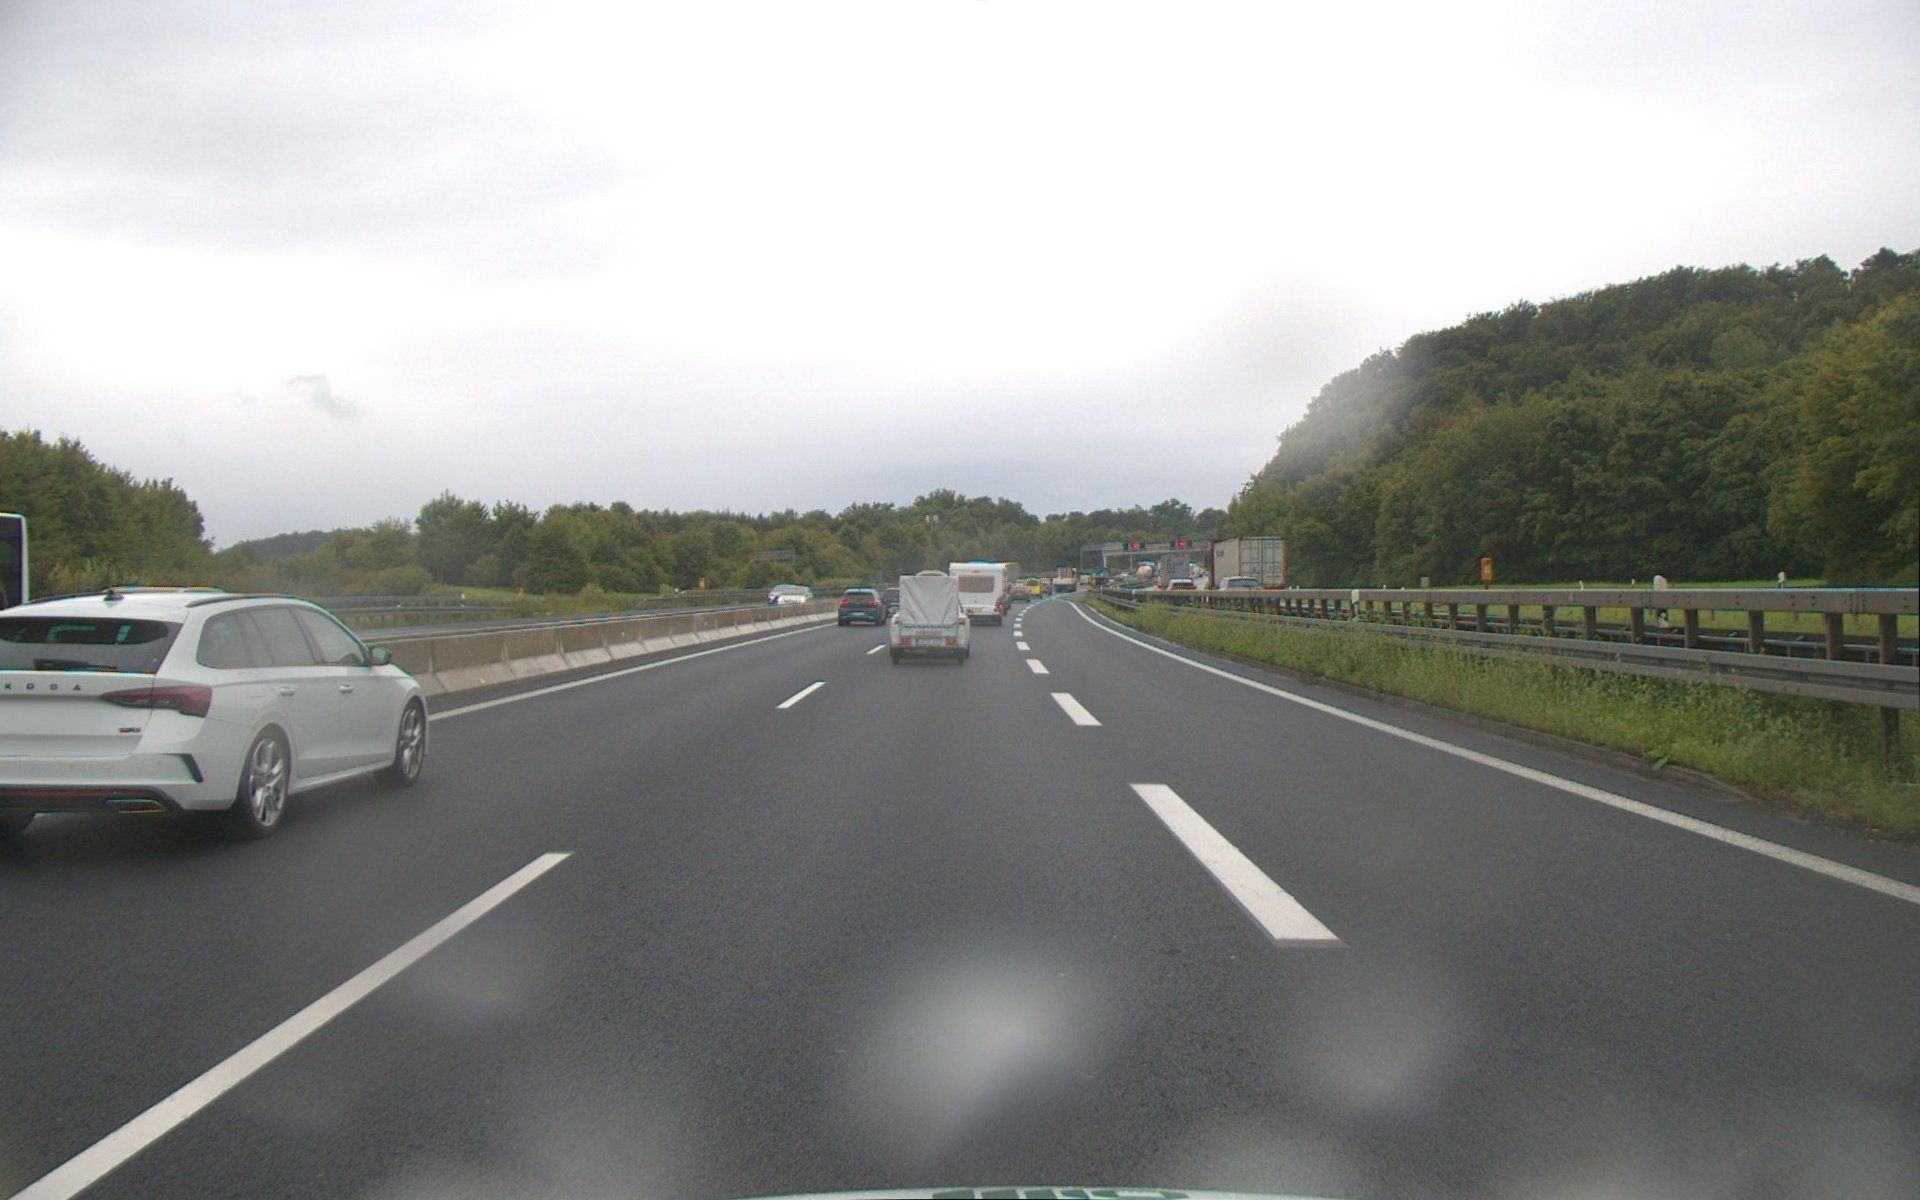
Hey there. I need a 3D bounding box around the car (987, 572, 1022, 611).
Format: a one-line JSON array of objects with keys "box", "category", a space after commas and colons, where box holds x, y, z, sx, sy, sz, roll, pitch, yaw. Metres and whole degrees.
[{"box": [2.494, -0.461, 92.436, 1.640, 2.103, 4.003, 0, 0, 6], "category": "car"}]

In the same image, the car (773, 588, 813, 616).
[{"box": [-10.481, 0.132, 104.082, 1.952, 1.741, 4.304, 0, 0, 2], "category": "car"}]

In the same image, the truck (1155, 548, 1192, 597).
[{"box": [21.697, -2.712, 168.558, 3.147, 4.748, 13.040, 0, 0, 5], "category": "truck"}]

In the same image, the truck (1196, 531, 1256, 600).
[{"box": [15.829, -1.979, 98.907, 2.562, 3.952, 6.392, 0, 0, 0], "category": "truck"}]

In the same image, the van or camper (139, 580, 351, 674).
[{"box": [-12.252, 0.431, 28.679, 1.712, 1.473, 4.585, 0, 0, -1], "category": "van or camper"}]

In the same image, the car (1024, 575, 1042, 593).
[{"box": [7.610, -1.667, 172.681, 1.640, 1.844, 4.003, 0, 0, 6], "category": "car"}]

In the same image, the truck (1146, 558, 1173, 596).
[{"box": [26.036, -2.894, 215.348, 3.147, 4.748, 13.043, 0, 0, 8], "category": "truck"}]

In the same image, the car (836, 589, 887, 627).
[{"box": [-3.969, 0.329, 67.241, 1.641, 1.481, 4.001, 0, 0, 3], "category": "car"}]

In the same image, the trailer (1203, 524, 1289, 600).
[{"box": [15.872, -1.973, 92.794, 2.551, 3.962, 12.488, 0, 0, -1], "category": "trailer"}]

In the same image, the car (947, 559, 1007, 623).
[{"box": [0.671, -0.359, 70.858, 2.456, 2.630, 5.698, 0, 0, -1], "category": "car"}]

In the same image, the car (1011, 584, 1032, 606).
[{"box": [5.251, -0.414, 142.167, 1.641, 1.844, 4.000, 0, 0, 0], "category": "car"}]

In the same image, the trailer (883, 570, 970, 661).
[{"box": [-0.673, 0.318, 35.604, 1.641, 1.844, 4.001, 0, 0, 2], "category": "trailer"}]

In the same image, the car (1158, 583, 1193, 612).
[{"box": [12.666, -0.162, 97.585, 1.732, 1.638, 4.645, 0, 0, 3], "category": "car"}]

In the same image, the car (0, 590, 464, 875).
[{"box": [-4.932, 0.701, 11.049, 1.781, 1.481, 4.777, 0, 0, 0], "category": "car"}]

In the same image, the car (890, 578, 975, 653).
[{"box": [-0.586, 0.347, 38.883, 1.781, 1.644, 4.778, 0, 0, 2], "category": "car"}]

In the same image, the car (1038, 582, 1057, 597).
[{"box": [10.230, -1.172, 193.343, 1.994, 1.712, 4.003, 0, 0, 6], "category": "car"}]

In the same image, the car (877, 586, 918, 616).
[{"box": [-3.205, 0.055, 85.401, 1.728, 1.481, 4.002, 0, 0, 3], "category": "car"}]

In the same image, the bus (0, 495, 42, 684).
[{"box": [-16.610, -0.158, 21.651, 2.643, 3.010, 11.896, -1, 0, -1], "category": "bus"}]

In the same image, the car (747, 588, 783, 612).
[{"box": [-13.900, 0.026, 118.062, 1.852, 1.679, 4.604, 0, 0, 3], "category": "car"}]

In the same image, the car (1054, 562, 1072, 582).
[{"box": [14.209, -3.819, 227.451, 2.463, 2.620, 5.315, 0, 0, 4], "category": "car"}]

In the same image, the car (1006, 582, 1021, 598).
[{"box": [7.031, -1.333, 216.620, 1.952, 2.049, 4.001, 0, 0, 2], "category": "car"}]

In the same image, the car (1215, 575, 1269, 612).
[{"box": [11.708, -0.258, 68.874, 1.632, 1.407, 4.127, -2, 0, 2], "category": "car"}]
